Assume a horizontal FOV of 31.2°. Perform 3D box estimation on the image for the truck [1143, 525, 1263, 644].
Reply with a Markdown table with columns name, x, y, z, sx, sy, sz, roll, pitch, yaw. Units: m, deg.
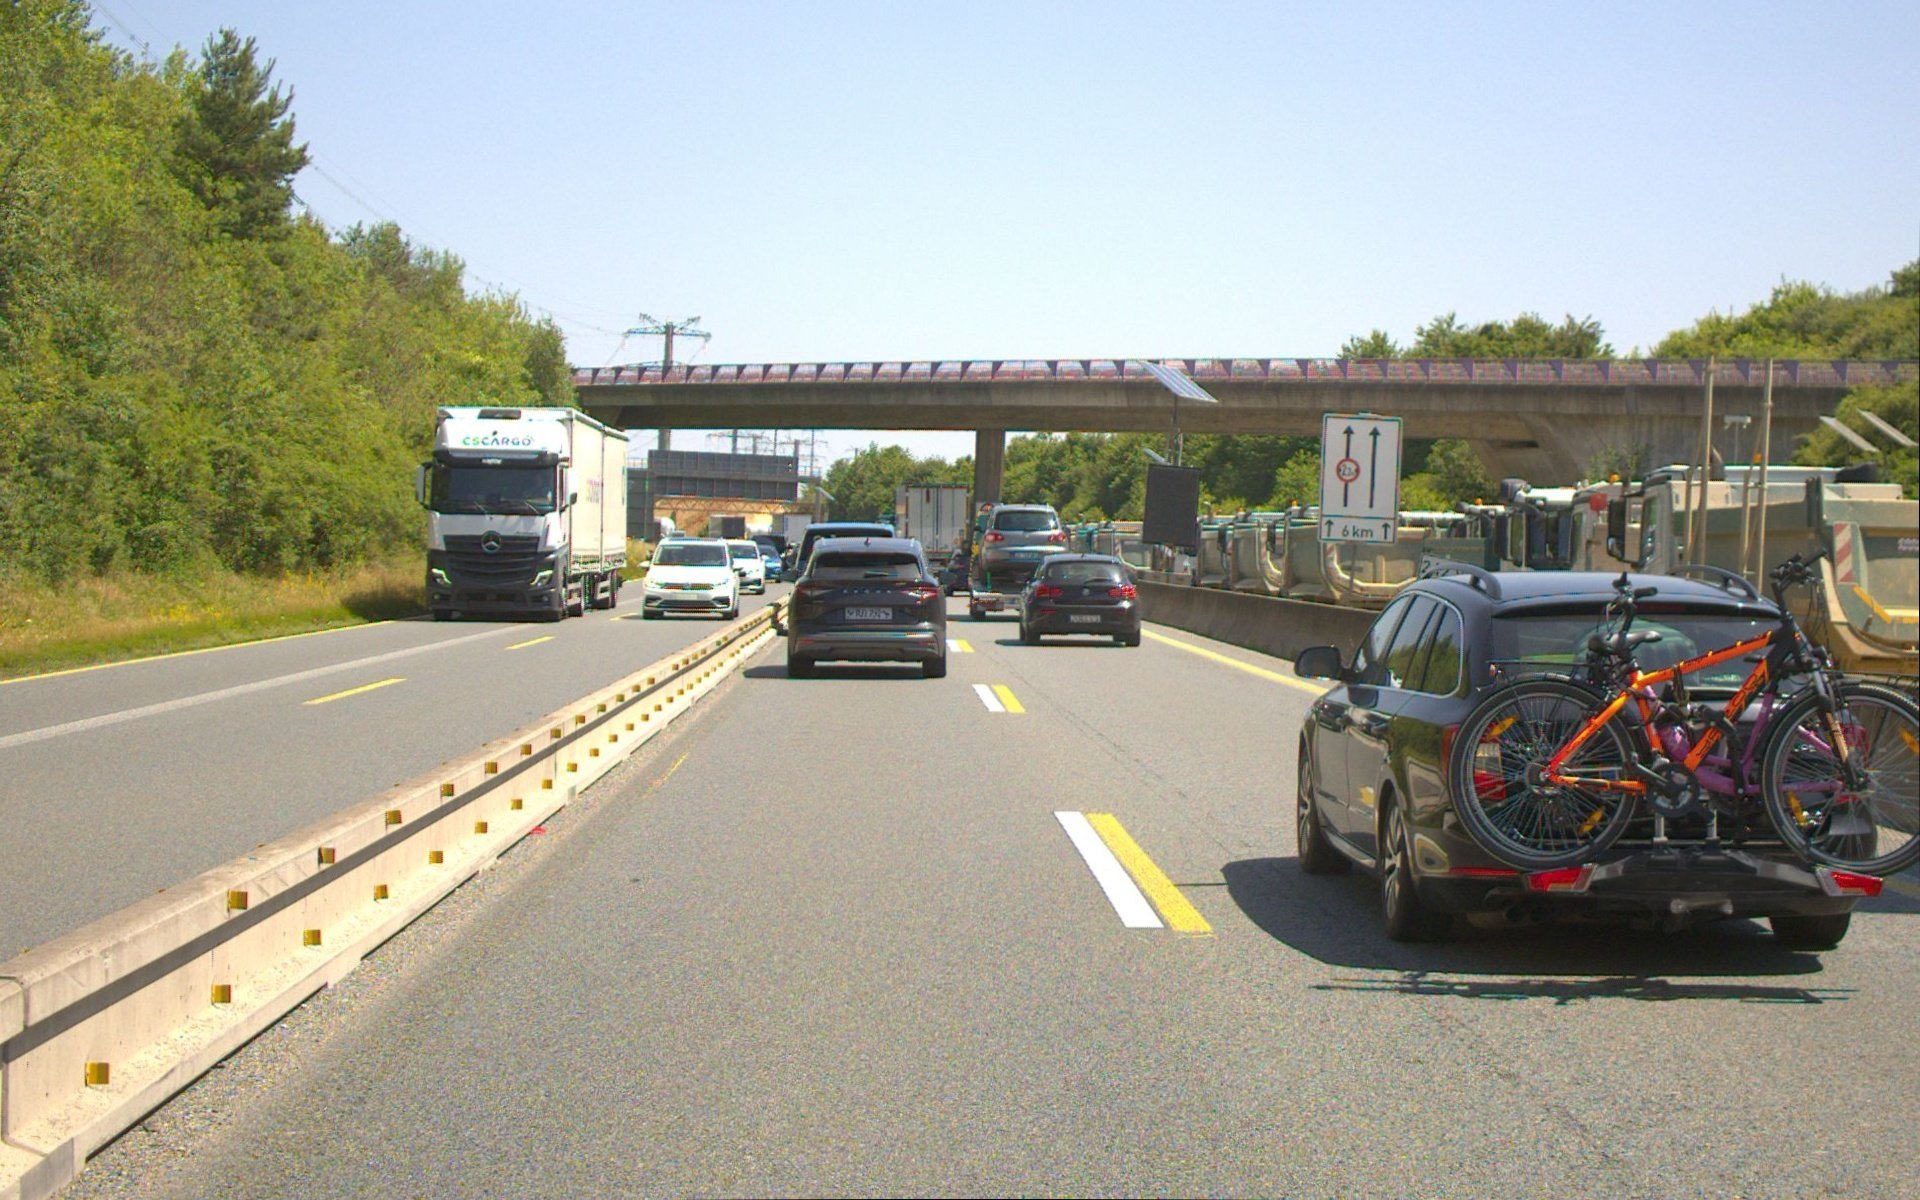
| name | x | y | z | sx | sy | sz | roll | pitch | yaw |
| --- | --- | --- | --- | --- | --- | --- | --- | --- | --- |
| truck | 7.623 | -0.559 | 109.001 | 2.687 | 3.545 | 9.326 | 1 | 1 | -2 |

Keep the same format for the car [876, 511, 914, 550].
| name | x | y | z | sx | sy | sz | roll | pitch | yaw |
| --- | --- | --- | --- | --- | --- | --- | --- | --- | --- |
| car | -3.344 | -3.582 | 177.949 | 1.899 | 1.962 | 4.276 | 1 | 1 | -1 |

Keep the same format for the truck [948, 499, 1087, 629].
| name | x | y | z | sx | sy | sz | roll | pitch | yaw |
| --- | --- | --- | --- | --- | --- | --- | --- | --- | --- |
| truck | 1.145 | -0.810 | 72.497 | 2.405 | 2.549 | 7.501 | 1 | 1 | -3 |

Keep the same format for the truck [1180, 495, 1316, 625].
| name | x | y | z | sx | sy | sz | roll | pitch | yaw |
| --- | --- | --- | --- | --- | --- | --- | --- | --- | --- |
| truck | 8.295 | -1.195 | 100.082 | 2.687 | 3.545 | 9.326 | 1 | 1 | -2 |

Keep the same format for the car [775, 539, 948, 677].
| name | x | y | z | sx | sy | sz | roll | pitch | yaw |
| --- | --- | --- | --- | --- | --- | --- | --- | --- | --- |
| car | -1.130 | 0.057 | 40.531 | 1.899 | 1.500 | 4.276 | 1 | 1 | -1 |

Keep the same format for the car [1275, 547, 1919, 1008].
| name | x | y | z | sx | sy | sz | roll | pitch | yaw |
| --- | --- | --- | --- | --- | --- | --- | --- | --- | --- |
| car | 2.497 | 0.564 | 13.838 | 1.899 | 1.485 | 4.948 | 1 | 1 | -1 |

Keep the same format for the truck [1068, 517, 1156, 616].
| name | x | y | z | sx | sy | sz | roll | pitch | yaw |
| --- | --- | --- | --- | --- | --- | --- | --- | --- | --- |
| truck | 6.087 | -1.392 | 138.814 | 2.687 | 3.842 | 9.326 | 1 | 1 | -2 |

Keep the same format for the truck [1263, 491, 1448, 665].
| name | x | y | z | sx | sy | sz | roll | pitch | yaw |
| --- | --- | --- | --- | --- | --- | --- | --- | --- | --- |
| truck | 8.633 | -0.538 | 76.145 | 2.687 | 3.545 | 9.603 | 1 | 1 | -1 |

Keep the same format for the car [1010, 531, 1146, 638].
| name | x | y | z | sx | sy | sz | roll | pitch | yaw |
| --- | --- | --- | --- | --- | --- | --- | --- | --- | --- |
| car | 1.813 | -0.261 | 54.204 | 1.899 | 1.580 | 4.276 | 1 | 1 | -1 |

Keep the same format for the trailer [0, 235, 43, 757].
| name | x | y | z | sx | sy | sz | roll | pitch | yaw |
| --- | --- | --- | --- | --- | --- | --- | --- | --- | --- |
| trailer | -7.407 | -0.639 | 18.243 | 2.650 | 3.325 | 8.919 | 3 | 1 | -1 |

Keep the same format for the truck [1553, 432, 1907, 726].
| name | x | y | z | sx | sy | sz | roll | pitch | yaw |
| --- | --- | --- | --- | --- | --- | --- | --- | --- | --- |
| truck | 10.060 | -0.332 | 45.939 | 2.533 | 3.499 | 8.945 | 1 | 1 | -1 |

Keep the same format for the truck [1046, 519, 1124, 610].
| name | x | y | z | sx | sy | sz | roll | pitch | yaw |
| --- | --- | --- | --- | --- | --- | --- | --- | --- | --- |
| truck | 5.456 | -1.603 | 151.529 | 2.687 | 3.830 | 9.326 | 1 | 1 | -2 |

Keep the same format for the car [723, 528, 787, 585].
| name | x | y | z | sx | sy | sz | roll | pitch | yaw |
| --- | --- | --- | --- | --- | --- | --- | --- | --- | --- |
| car | -6.102 | -1.283 | 102.746 | 1.762 | 1.626 | 4.297 | 1 | 1 | -2 |

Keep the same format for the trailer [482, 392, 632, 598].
| name | x | y | z | sx | sy | sz | roll | pitch | yaw |
| --- | --- | --- | --- | --- | --- | --- | --- | --- | --- |
| trailer | -8.995 | -2.322 | 77.478 | 2.637 | 4.298 | 8.449 | 2 | 1 | -3 |

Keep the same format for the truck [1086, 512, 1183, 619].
| name | x | y | z | sx | sy | sz | roll | pitch | yaw |
| --- | --- | --- | --- | --- | --- | --- | --- | --- | --- |
| truck | 6.398 | -1.311 | 127.413 | 2.687 | 3.748 | 9.326 | 1 | 1 | -2 |

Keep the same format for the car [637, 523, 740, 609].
| name | x | y | z | sx | sy | sz | roll | pitch | yaw |
| --- | --- | --- | --- | --- | --- | --- | --- | --- | --- |
| car | -5.420 | -0.687 | 69.068 | 1.824 | 1.625 | 4.151 | 1 | 1 | -2 |

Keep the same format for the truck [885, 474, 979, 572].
| name | x | y | z | sx | sy | sz | roll | pitch | yaw |
| --- | --- | --- | --- | --- | --- | --- | --- | --- | --- |
| truck | -1.238 | -3.186 | 142.791 | 3.292 | 3.832 | 10.111 | 1 | 1 | -4 |

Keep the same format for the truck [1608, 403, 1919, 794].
| name | x | y | z | sx | sy | sz | roll | pitch | yaw |
| --- | --- | --- | --- | --- | --- | --- | --- | --- | --- |
| truck | 8.981 | -0.076 | 35.492 | 2.533 | 3.499 | 9.098 | 1 | 1 | -2 |

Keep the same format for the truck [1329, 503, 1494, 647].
| name | x | y | z | sx | sy | sz | roll | pitch | yaw |
| --- | --- | --- | --- | --- | --- | --- | --- | --- | --- |
| truck | 11.240 | -0.676 | 86.457 | 2.687 | 3.366 | 9.603 | 1 | 1 | -1 |

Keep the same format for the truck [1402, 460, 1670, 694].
| name | x | y | z | sx | sy | sz | roll | pitch | yaw |
| --- | --- | --- | --- | --- | --- | --- | --- | --- | --- |
| truck | 9.490 | -0.444 | 57.720 | 2.538 | 3.545 | 9.604 | 1 | 1 | -2 |

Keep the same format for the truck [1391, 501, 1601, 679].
| name | x | y | z | sx | sy | sz | roll | pitch | yaw |
| --- | --- | --- | --- | --- | --- | --- | --- | --- | --- |
| truck | 11.439 | -0.282 | 74.289 | 2.687 | 3.545 | 9.604 | 1 | 1 | -2 |

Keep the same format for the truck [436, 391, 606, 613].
| name | x | y | z | sx | sy | sz | roll | pitch | yaw |
| --- | --- | --- | --- | --- | --- | --- | --- | --- | --- |
| truck | -8.567 | -1.884 | 68.100 | 2.409 | 3.978 | 10.354 | 2 | 1 | -3 |

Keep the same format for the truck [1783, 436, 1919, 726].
| name | x | y | z | sx | sy | sz | roll | pitch | yaw |
| --- | --- | --- | --- | --- | --- | --- | --- | --- | --- |
| truck | 12.854 | -0.237 | 43.235 | 2.687 | 3.499 | 8.381 | 1 | 1 | -2 |

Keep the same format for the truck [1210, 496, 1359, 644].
| name | x | y | z | sx | sy | sz | roll | pitch | yaw |
| --- | --- | --- | --- | --- | --- | --- | --- | --- | --- |
| truck | 8.243 | -0.824 | 88.406 | 2.687 | 3.545 | 9.407 | 1 | 1 | -1 |

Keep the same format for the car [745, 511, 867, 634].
| name | x | y | z | sx | sy | sz | roll | pitch | yaw |
| --- | --- | --- | --- | --- | --- | --- | --- | --- | --- |
| car | -2.572 | -0.477 | 58.242 | 1.899 | 1.962 | 4.276 | 1 | 1 | -1 |
